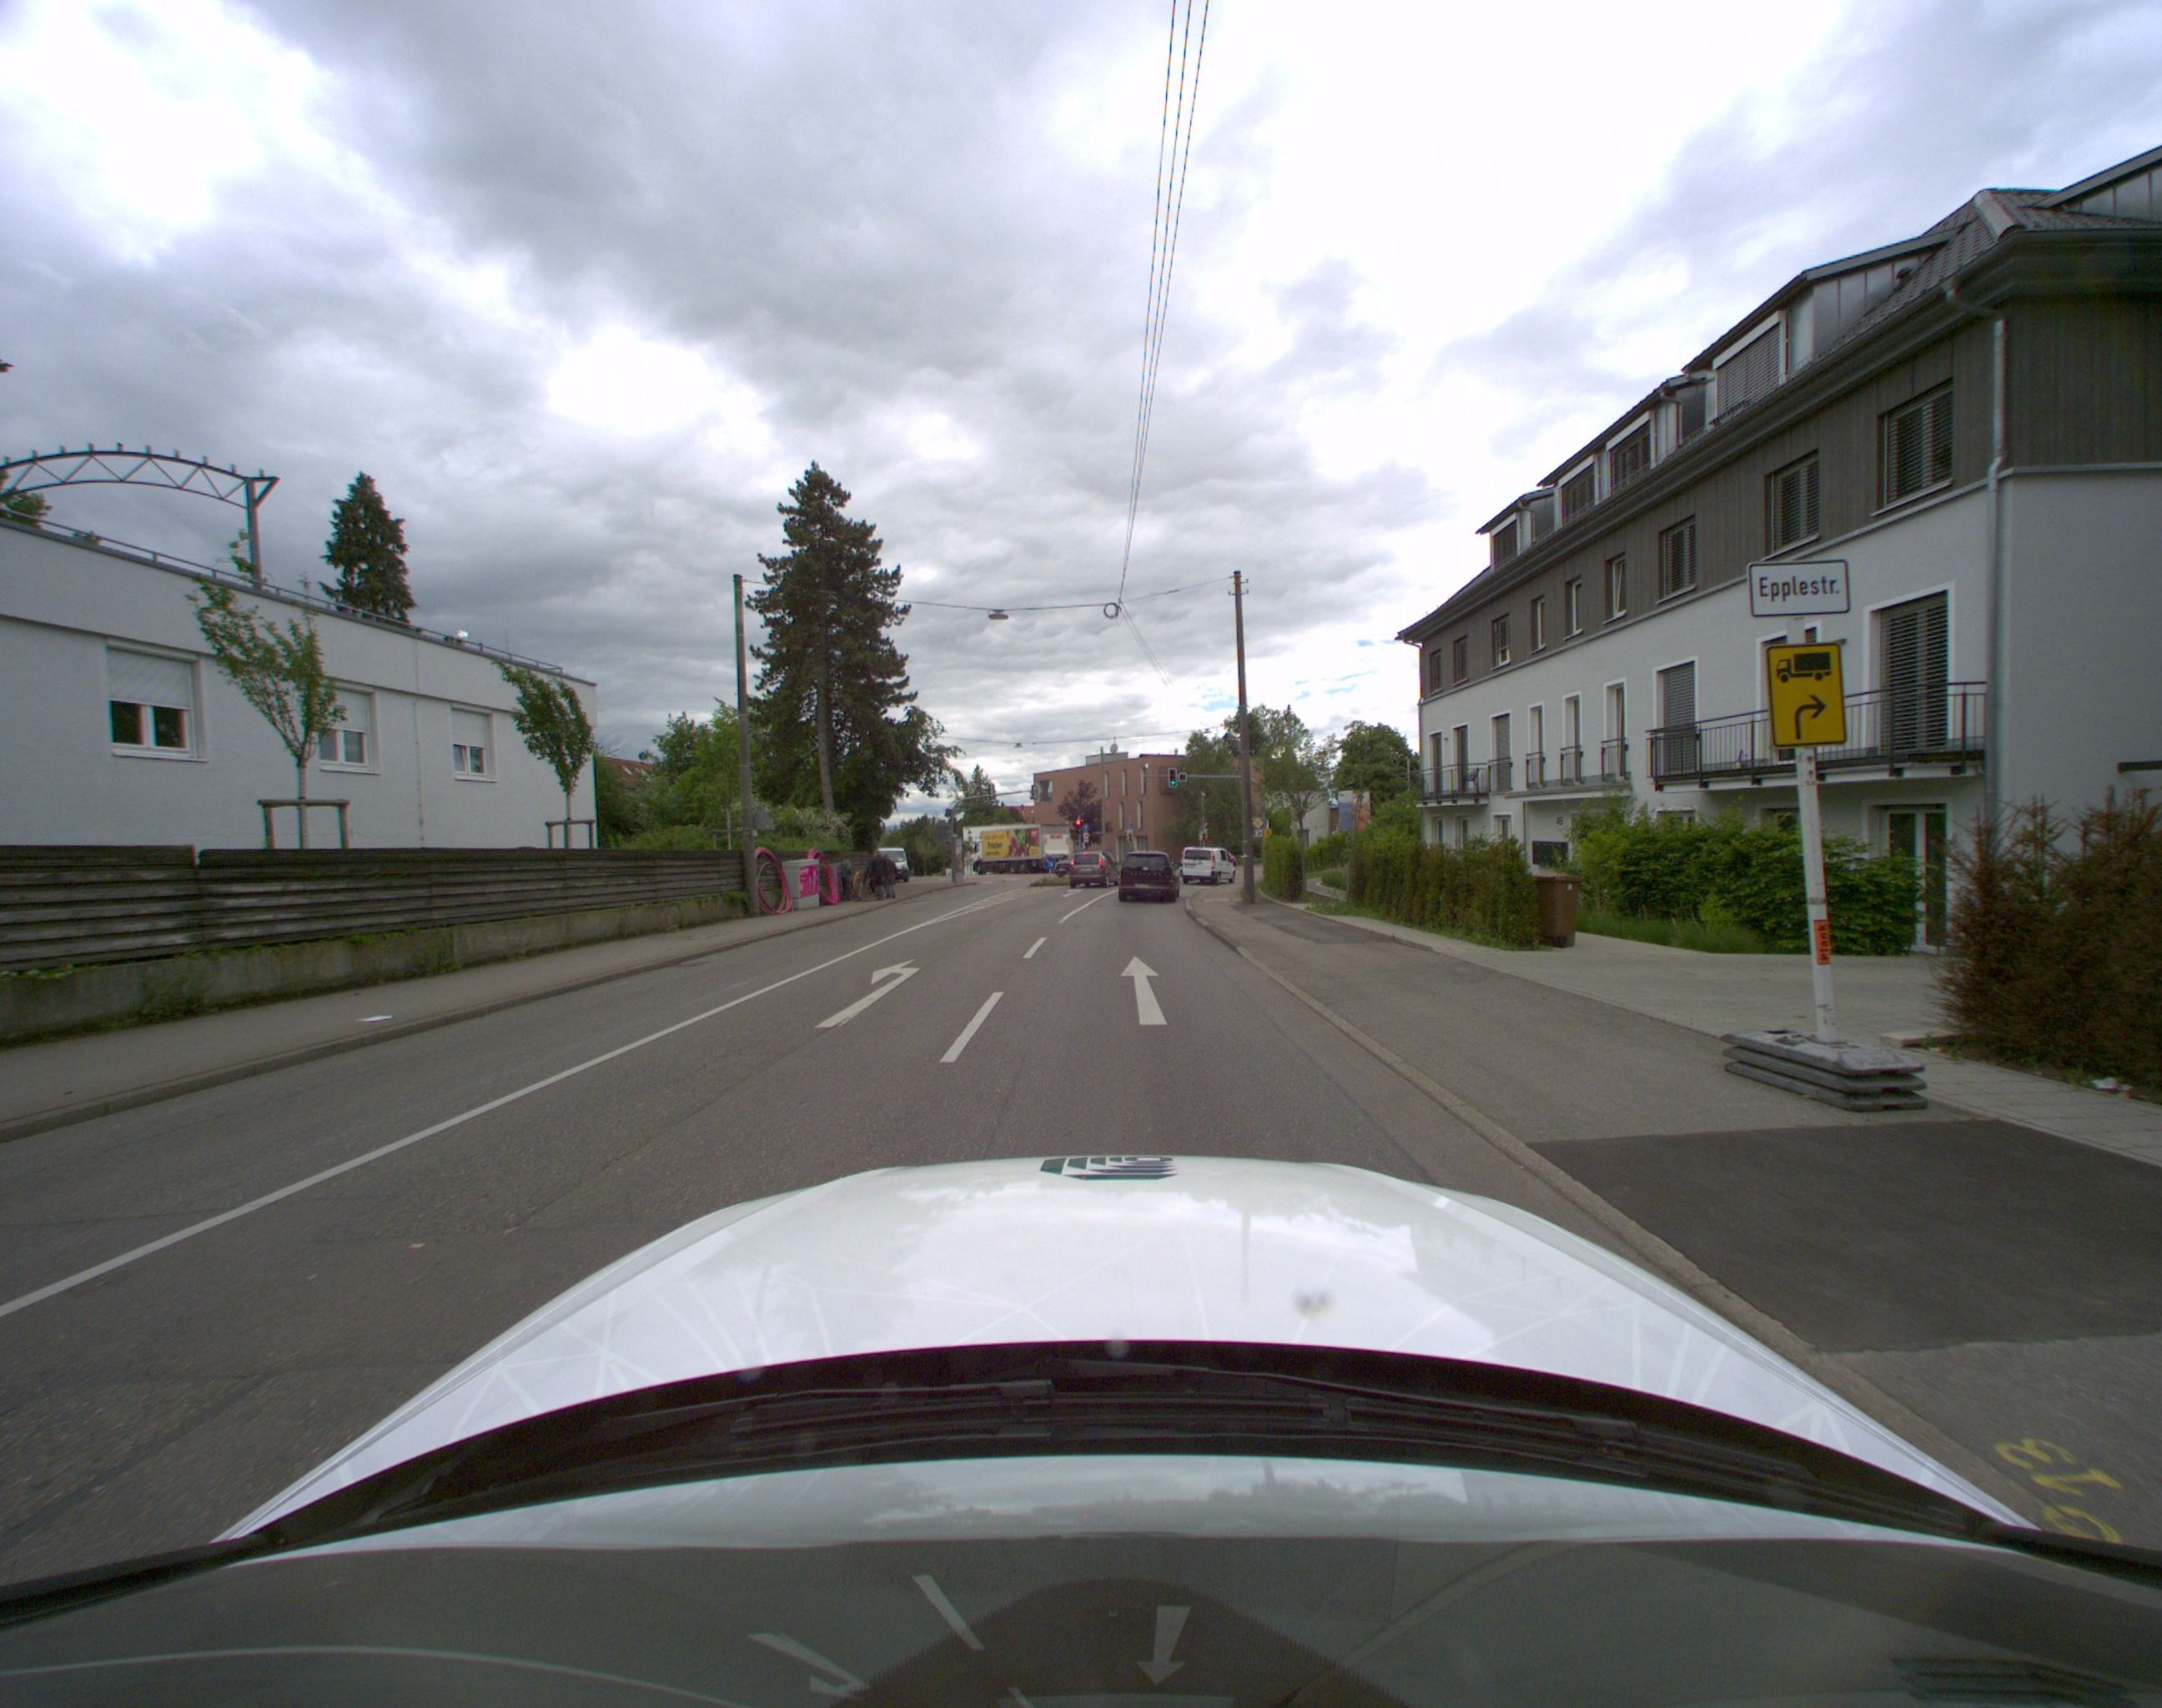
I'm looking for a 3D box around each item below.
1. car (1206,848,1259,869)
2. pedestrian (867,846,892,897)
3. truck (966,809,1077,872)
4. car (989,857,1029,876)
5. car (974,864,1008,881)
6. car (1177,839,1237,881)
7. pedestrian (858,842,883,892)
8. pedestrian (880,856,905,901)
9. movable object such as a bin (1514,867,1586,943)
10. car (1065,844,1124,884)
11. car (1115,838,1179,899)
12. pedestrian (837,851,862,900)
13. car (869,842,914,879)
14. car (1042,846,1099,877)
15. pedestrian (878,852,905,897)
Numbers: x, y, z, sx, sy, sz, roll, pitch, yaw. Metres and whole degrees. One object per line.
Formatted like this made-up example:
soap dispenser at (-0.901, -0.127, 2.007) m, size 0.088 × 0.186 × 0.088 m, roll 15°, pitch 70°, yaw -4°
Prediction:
car at (11.781, 0.375, 63.138) m, size 4.243 × 1.564 × 1.975 m, roll 0°, pitch -1°, yaw -45°
pedestrian at (-7.499, 0.645, 30.260) m, size 0.754 × 1.837 × 0.609 m, roll -1°, pitch 0°, yaw -27°
truck at (-5.162, -0.965, 66.800) m, size 3.150 × 4.734 × 11.661 m, roll -1°, pitch 0°, yaw -37°
car at (-8.262, 1.431, 93.556) m, size 4.008 × 2.013 × 1.983 m, roll -2°, pitch 0°, yaw -26°
car at (-11.451, 2.368, 103.750) m, size 3.994 × 2.013 × 1.990 m, roll -1°, pitch 0°, yaw -15°
car at (6.635, 0.258, 42.535) m, size 1.944 × 2.013 × 4.453 m, roll 2°, pitch 1°, yaw 24°
pedestrian at (-8.540, 0.530, 33.063) m, size 0.701 × 2.014 × 0.814 m, roll -1°, pitch 0°, yaw 5°
pedestrian at (-7.423, 0.959, 32.081) m, size 0.872 × 1.753 × 0.689 m, roll 0°, pitch -1°, yaw -22°
movable object such as a bin at (6.885, 0.725, 11.957) m, size 0.719 × 1.073 × 0.674 m, roll 1°, pitch -2°, yaw -36°
car at (0.675, 0.429, 37.126) m, size 1.880 × 1.706 × 4.014 m, roll -1°, pitch 0°, yaw 13°
car at (2.232, 0.448, 27.963) m, size 1.985 × 1.881 × 4.003 m, roll 2°, pitch 0°, yaw 3°
pedestrian at (-8.576, 0.788, 30.170) m, size 0.818 × 1.763 × 0.861 m, roll -1°, pitch 0°, yaw -21°
car at (-12.276, 0.422, 52.392) m, size 2.286 × 2.227 × 6.432 m, roll -1°, pitch 0°, yaw -18°
car at (-0.594, 0.446, 50.474) m, size 1.977 × 1.797 × 4.543 m, roll -3°, pitch -1°, yaw 19°
pedestrian at (-7.324, 0.782, 31.506) m, size 0.757 × 1.734 × 0.687 m, roll -1°, pitch -1°, yaw -44°
